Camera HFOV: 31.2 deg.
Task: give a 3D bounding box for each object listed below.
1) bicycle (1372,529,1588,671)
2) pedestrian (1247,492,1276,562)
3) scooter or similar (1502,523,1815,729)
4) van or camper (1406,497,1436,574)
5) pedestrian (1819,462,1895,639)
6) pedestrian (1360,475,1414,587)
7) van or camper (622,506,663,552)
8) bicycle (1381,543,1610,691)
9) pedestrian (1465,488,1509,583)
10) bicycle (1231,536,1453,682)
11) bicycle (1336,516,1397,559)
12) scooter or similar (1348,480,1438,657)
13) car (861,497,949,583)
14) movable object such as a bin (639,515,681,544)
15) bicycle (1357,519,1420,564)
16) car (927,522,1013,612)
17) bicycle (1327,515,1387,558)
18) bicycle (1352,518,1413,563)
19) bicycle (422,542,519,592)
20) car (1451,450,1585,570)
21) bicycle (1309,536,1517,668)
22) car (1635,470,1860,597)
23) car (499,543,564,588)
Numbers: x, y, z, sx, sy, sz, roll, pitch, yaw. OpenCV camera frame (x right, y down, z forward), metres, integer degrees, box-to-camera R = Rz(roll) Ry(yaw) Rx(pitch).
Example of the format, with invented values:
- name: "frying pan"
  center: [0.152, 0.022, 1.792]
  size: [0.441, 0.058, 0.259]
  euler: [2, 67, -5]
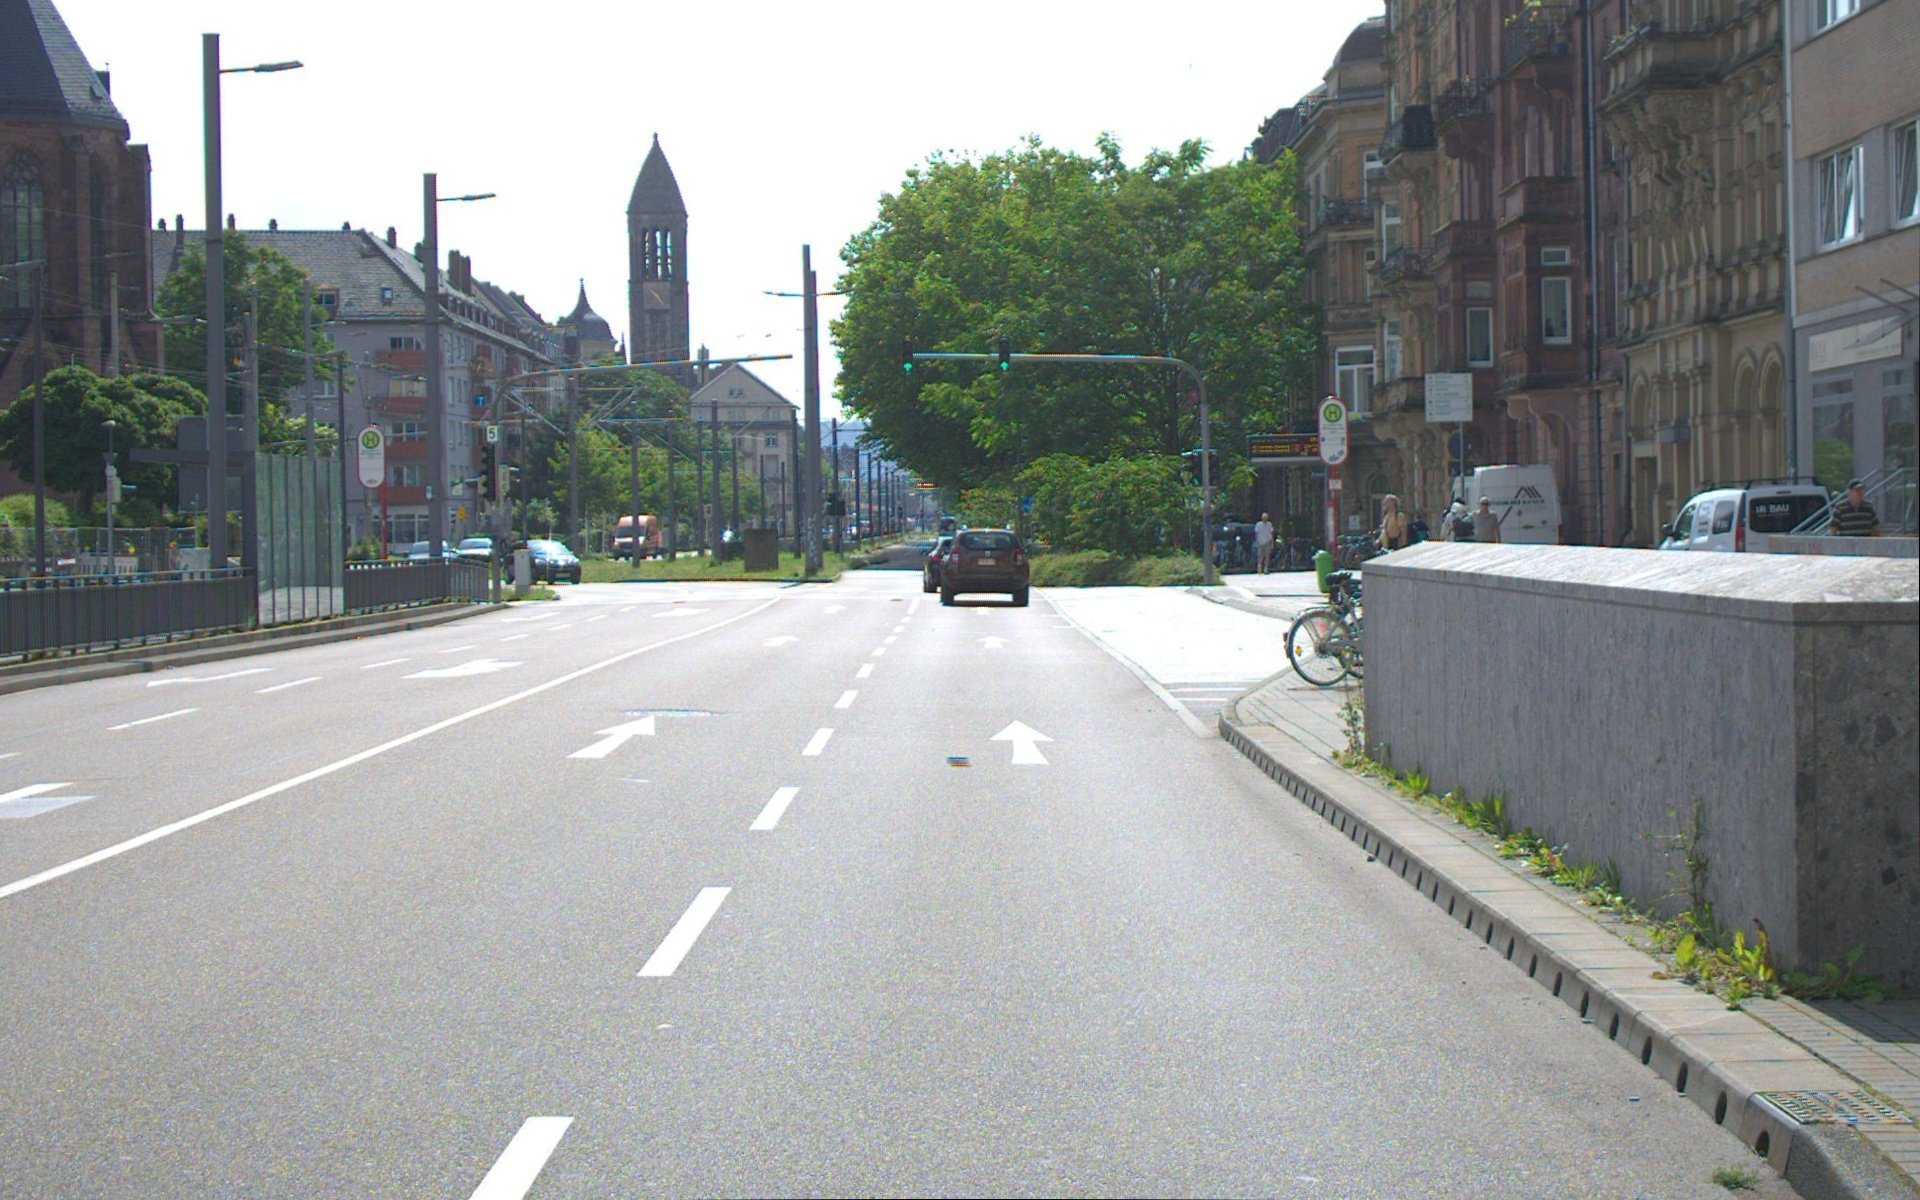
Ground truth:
- name: "bicycle"
  center: [4.784, -0.008, 31.634]
  size: [1.923, 1.233, 0.441]
  euler: [-1, 3, -10]
- name: "pedestrian"
  center: [8.847, -2.142, 100.941]
  size: [0.768, 2.007, 0.715]
  euler: [-1, 1, 1]
- name: "scooter or similar"
  center: [5.405, 0.194, 26.691]
  size: [2.325, 1.540, 0.698]
  euler: [0, 3, 6]
- name: "van or camper"
  center: [12.292, -1.720, 91.703]
  size: [0.666, 2.007, 0.638]
  euler: [-1, 1, 0]
- name: "pedestrian"
  center: [10.834, -0.609, 41.531]
  size: [0.721, 2.092, 0.786]
  euler: [-1, 3, 1]
- name: "pedestrian"
  center: [7.330, -1.187, 59.030]
  size: [0.662, 1.896, 0.695]
  euler: [-2, 1, -18]
- name: "van or camper"
  center: [-19.591, -4.393, 212.491]
  size: [2.255, 2.728, 6.204]
  euler: [-1, 1, -3]
- name: "bicycle"
  center: [4.645, 0.145, 29.869]
  size: [1.924, 1.233, 0.441]
  euler: [-1, 3, 3]
- name: "pedestrian"
  center: [10.329, -1.268, 67.422]
  size: [0.662, 1.830, 0.695]
  euler: [-1, 1, -6]
- name: "bicycle"
  center: [3.429, 0.071, 30.848]
  size: [1.923, 1.233, 0.441]
  euler: [-2, 3, -12]
- name: "bicycle"
  center: [12.077, -1.859, 102.185]
  size: [1.769, 1.263, 0.466]
  euler: [-1, 3, 4]
- name: "scooter or similar"
  center: [4.456, -0.334, 35.424]
  size: [0.397, 1.780, 1.538]
  euler: [-1, 1, -12]
- name: "car"
  center: [-1.366, -1.474, 83.983]
  size: [1.993, 2.007, 4.001]
  euler: [-1, 1, -3]
- name: "movable object such as a bin"
  center: [-19.078, -4.495, 218.461]
  size: [2.206, 1.687, 3.718]
  euler: [-2, 4, -12]
- name: "bicycle"
  center: [12.374, -1.692, 99.352]
  size: [1.769, 1.263, 0.466]
  euler: [-1, 3, 4]
- name: "car"
  center: [0.195, -0.721, 72.866]
  size: [1.689, 1.705, 3.610]
  euler: [-1, 3, -1]
- name: "bicycle"
  center: [12.000, -1.925, 103.892]
  size: [1.769, 1.263, 0.466]
  euler: [-1, 3, 4]
- name: "bicycle"
  center: [12.286, -1.738, 99.954]
  size: [1.746, 1.263, 0.466]
  euler: [-1, 3, 4]
- name: "bicycle"
  center: [-11.426, -0.764, 80.307]
  size: [2.019, 1.122, 0.931]
  euler: [-1, 1, 11]
- name: "car"
  center: [12.242, -1.973, 75.764]
  size: [1.993, 2.517, 5.889]
  euler: [-1, 1, 0]
- name: "bicycle"
  center: [4.457, 0.013, 33.819]
  size: [1.978, 1.233, 0.441]
  euler: [-1, 3, -11]
- name: "car"
  center: [12.146, -1.012, 53.372]
  size: [1.993, 1.855, 4.753]
  euler: [-1, 1, -5]
- name: "car"
  center: [-14.148, -1.146, 113.568]
  size: [1.915, 1.412, 3.742]
  euler: [-1, 1, -4]
